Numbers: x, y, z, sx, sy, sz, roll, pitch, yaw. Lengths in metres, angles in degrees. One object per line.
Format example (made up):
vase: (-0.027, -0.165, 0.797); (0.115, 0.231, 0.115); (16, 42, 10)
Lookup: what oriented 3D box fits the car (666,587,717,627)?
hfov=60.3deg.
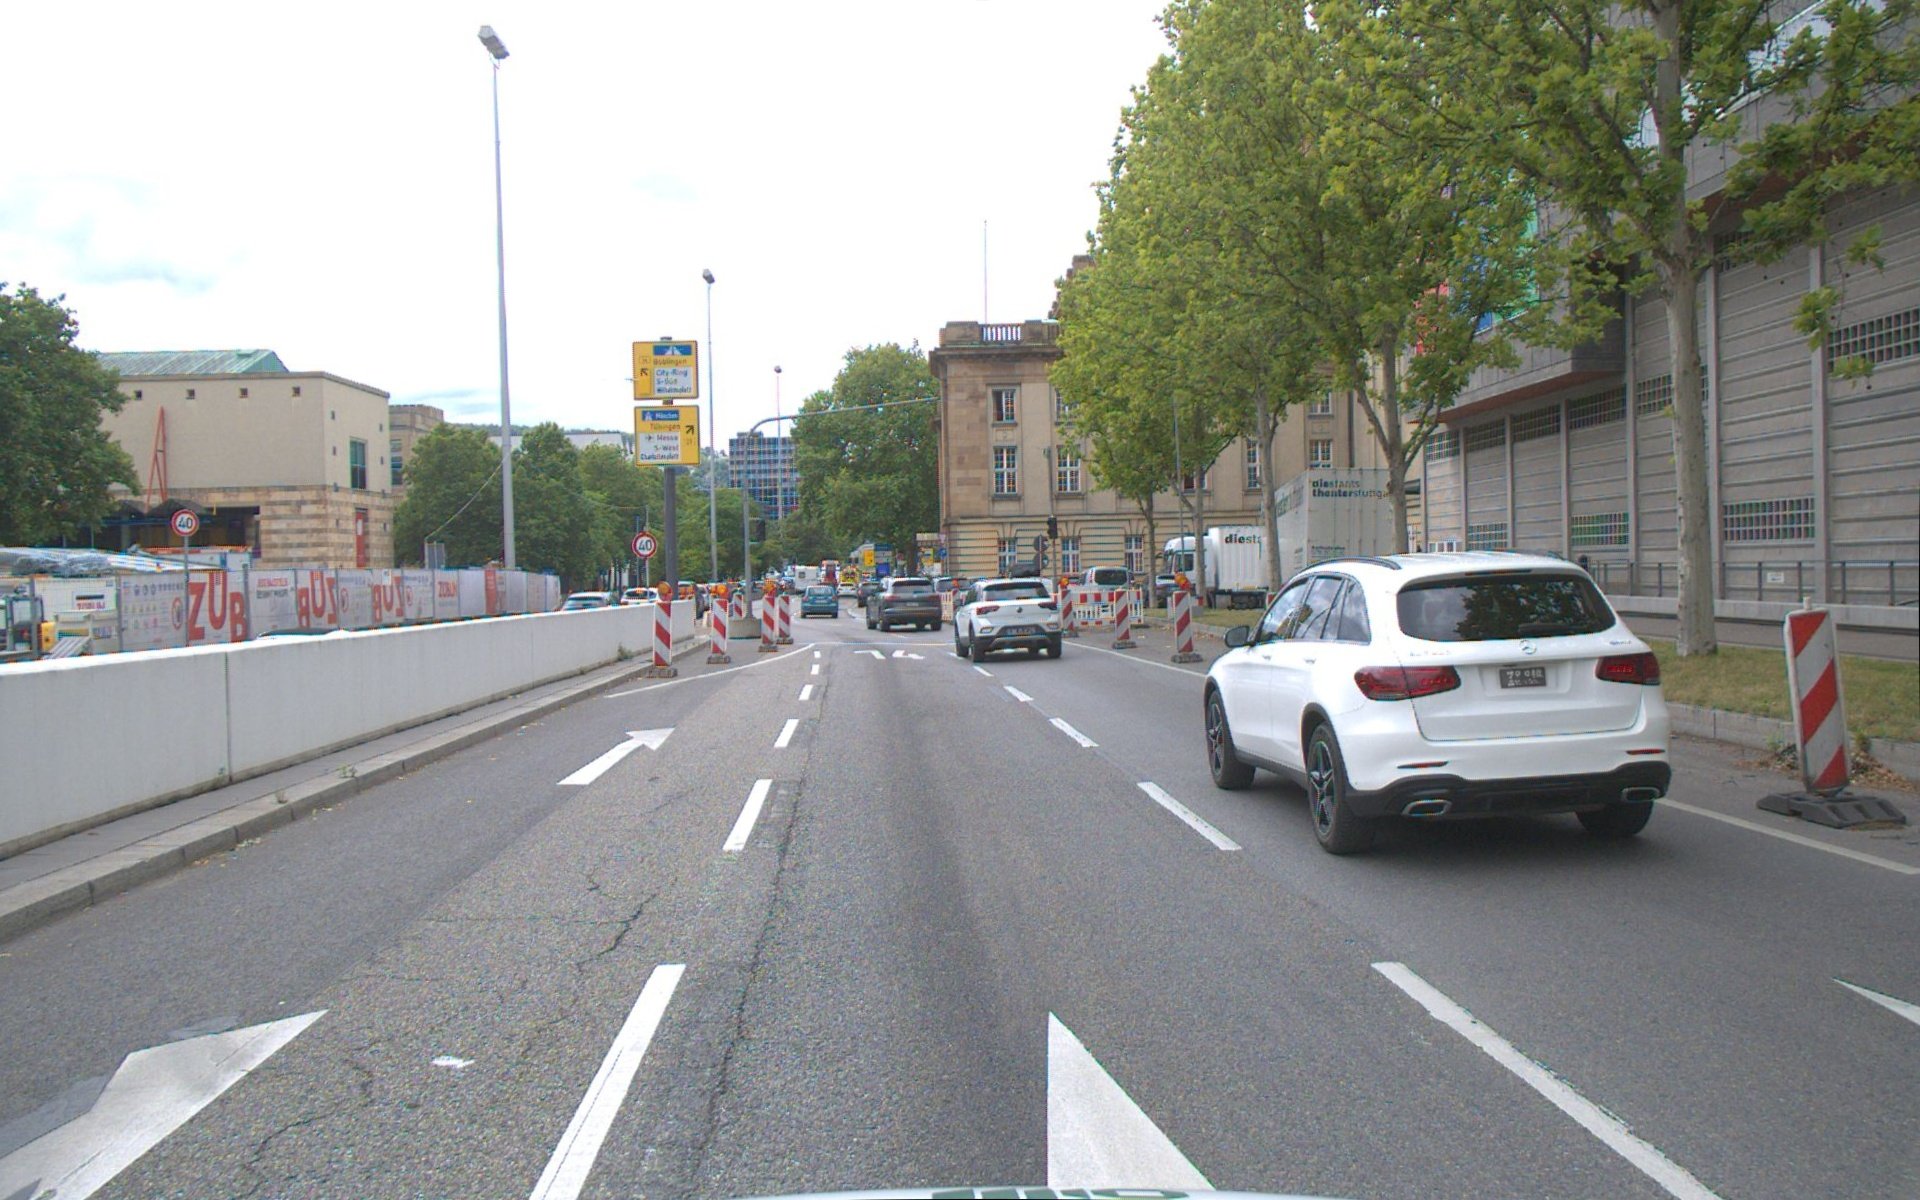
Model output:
car: (-11.858, 0.279, 73.093); (1.716, 1.595, 3.376); (-4, 1, -2)

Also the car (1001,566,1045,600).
car: (3.149, -0.818, 83.317); (1.819, 1.595, 4.329); (-1, 0, -3)

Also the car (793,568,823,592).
car: (-15.977, -2.155, 174.201); (2.529, 2.415, 5.528); (-2, 1, 1)

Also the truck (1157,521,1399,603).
truck: (13.649, -1.617, 71.393); (9.829, 3.104, 2.567); (-2, 0, -3)

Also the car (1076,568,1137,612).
car: (5.579, -0.352, 63.296); (1.716, 1.595, 4.329); (-1, 0, -3)

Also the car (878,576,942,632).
car: (-1.640, 0.093, 52.906); (1.788, 1.595, 4.476); (0, 2, -5)

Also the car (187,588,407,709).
car: (-10.196, 0.682, 25.786); (1.954, 1.670, 3.997); (-2, 0, -3)

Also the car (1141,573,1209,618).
car: (8.135, -0.146, 62.907); (1.819, 1.595, 4.329); (-1, 0, -3)

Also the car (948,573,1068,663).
car: (0.903, 0.318, 33.470); (1.718, 1.595, 4.325); (-4, 1, -7)

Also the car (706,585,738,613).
car: (-14.576, -0.058, 101.428); (1.717, 1.595, 4.326); (-2, 0, -6)

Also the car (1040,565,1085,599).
car: (5.159, -0.891, 83.757); (1.819, 1.595, 4.329); (-1, 0, -3)

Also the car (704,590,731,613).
car: (-17.684, 0.098, 120.920); (1.717, 1.595, 4.326); (-2, 0, -6)

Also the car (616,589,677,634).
car: (-11.659, 0.417, 61.676); (1.715, 1.595, 3.376); (-1, 1, -2)

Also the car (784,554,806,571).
car: (-24.773, -5.655, 248.238); (2.529, 2.415, 5.528); (-2, 1, 1)

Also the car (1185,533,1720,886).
car: (2.831, 0.514, 10.697); (1.776, 1.671, 4.549); (-4, 1, -4)

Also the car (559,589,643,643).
car: (-11.204, 0.469, 51.825); (1.715, 1.595, 4.330); (-2, 0, -1)

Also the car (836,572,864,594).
car: (-12.493, -1.968, 187.955); (2.529, 2.415, 5.528); (-2, 1, 1)

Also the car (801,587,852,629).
car: (-6.040, 0.337, 75.358); (1.786, 1.771, 4.481); (-2, 1, 1)

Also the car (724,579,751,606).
car: (-18.181, -0.611, 135.217); (1.955, 2.048, 3.996); (-2, 2, -6)
